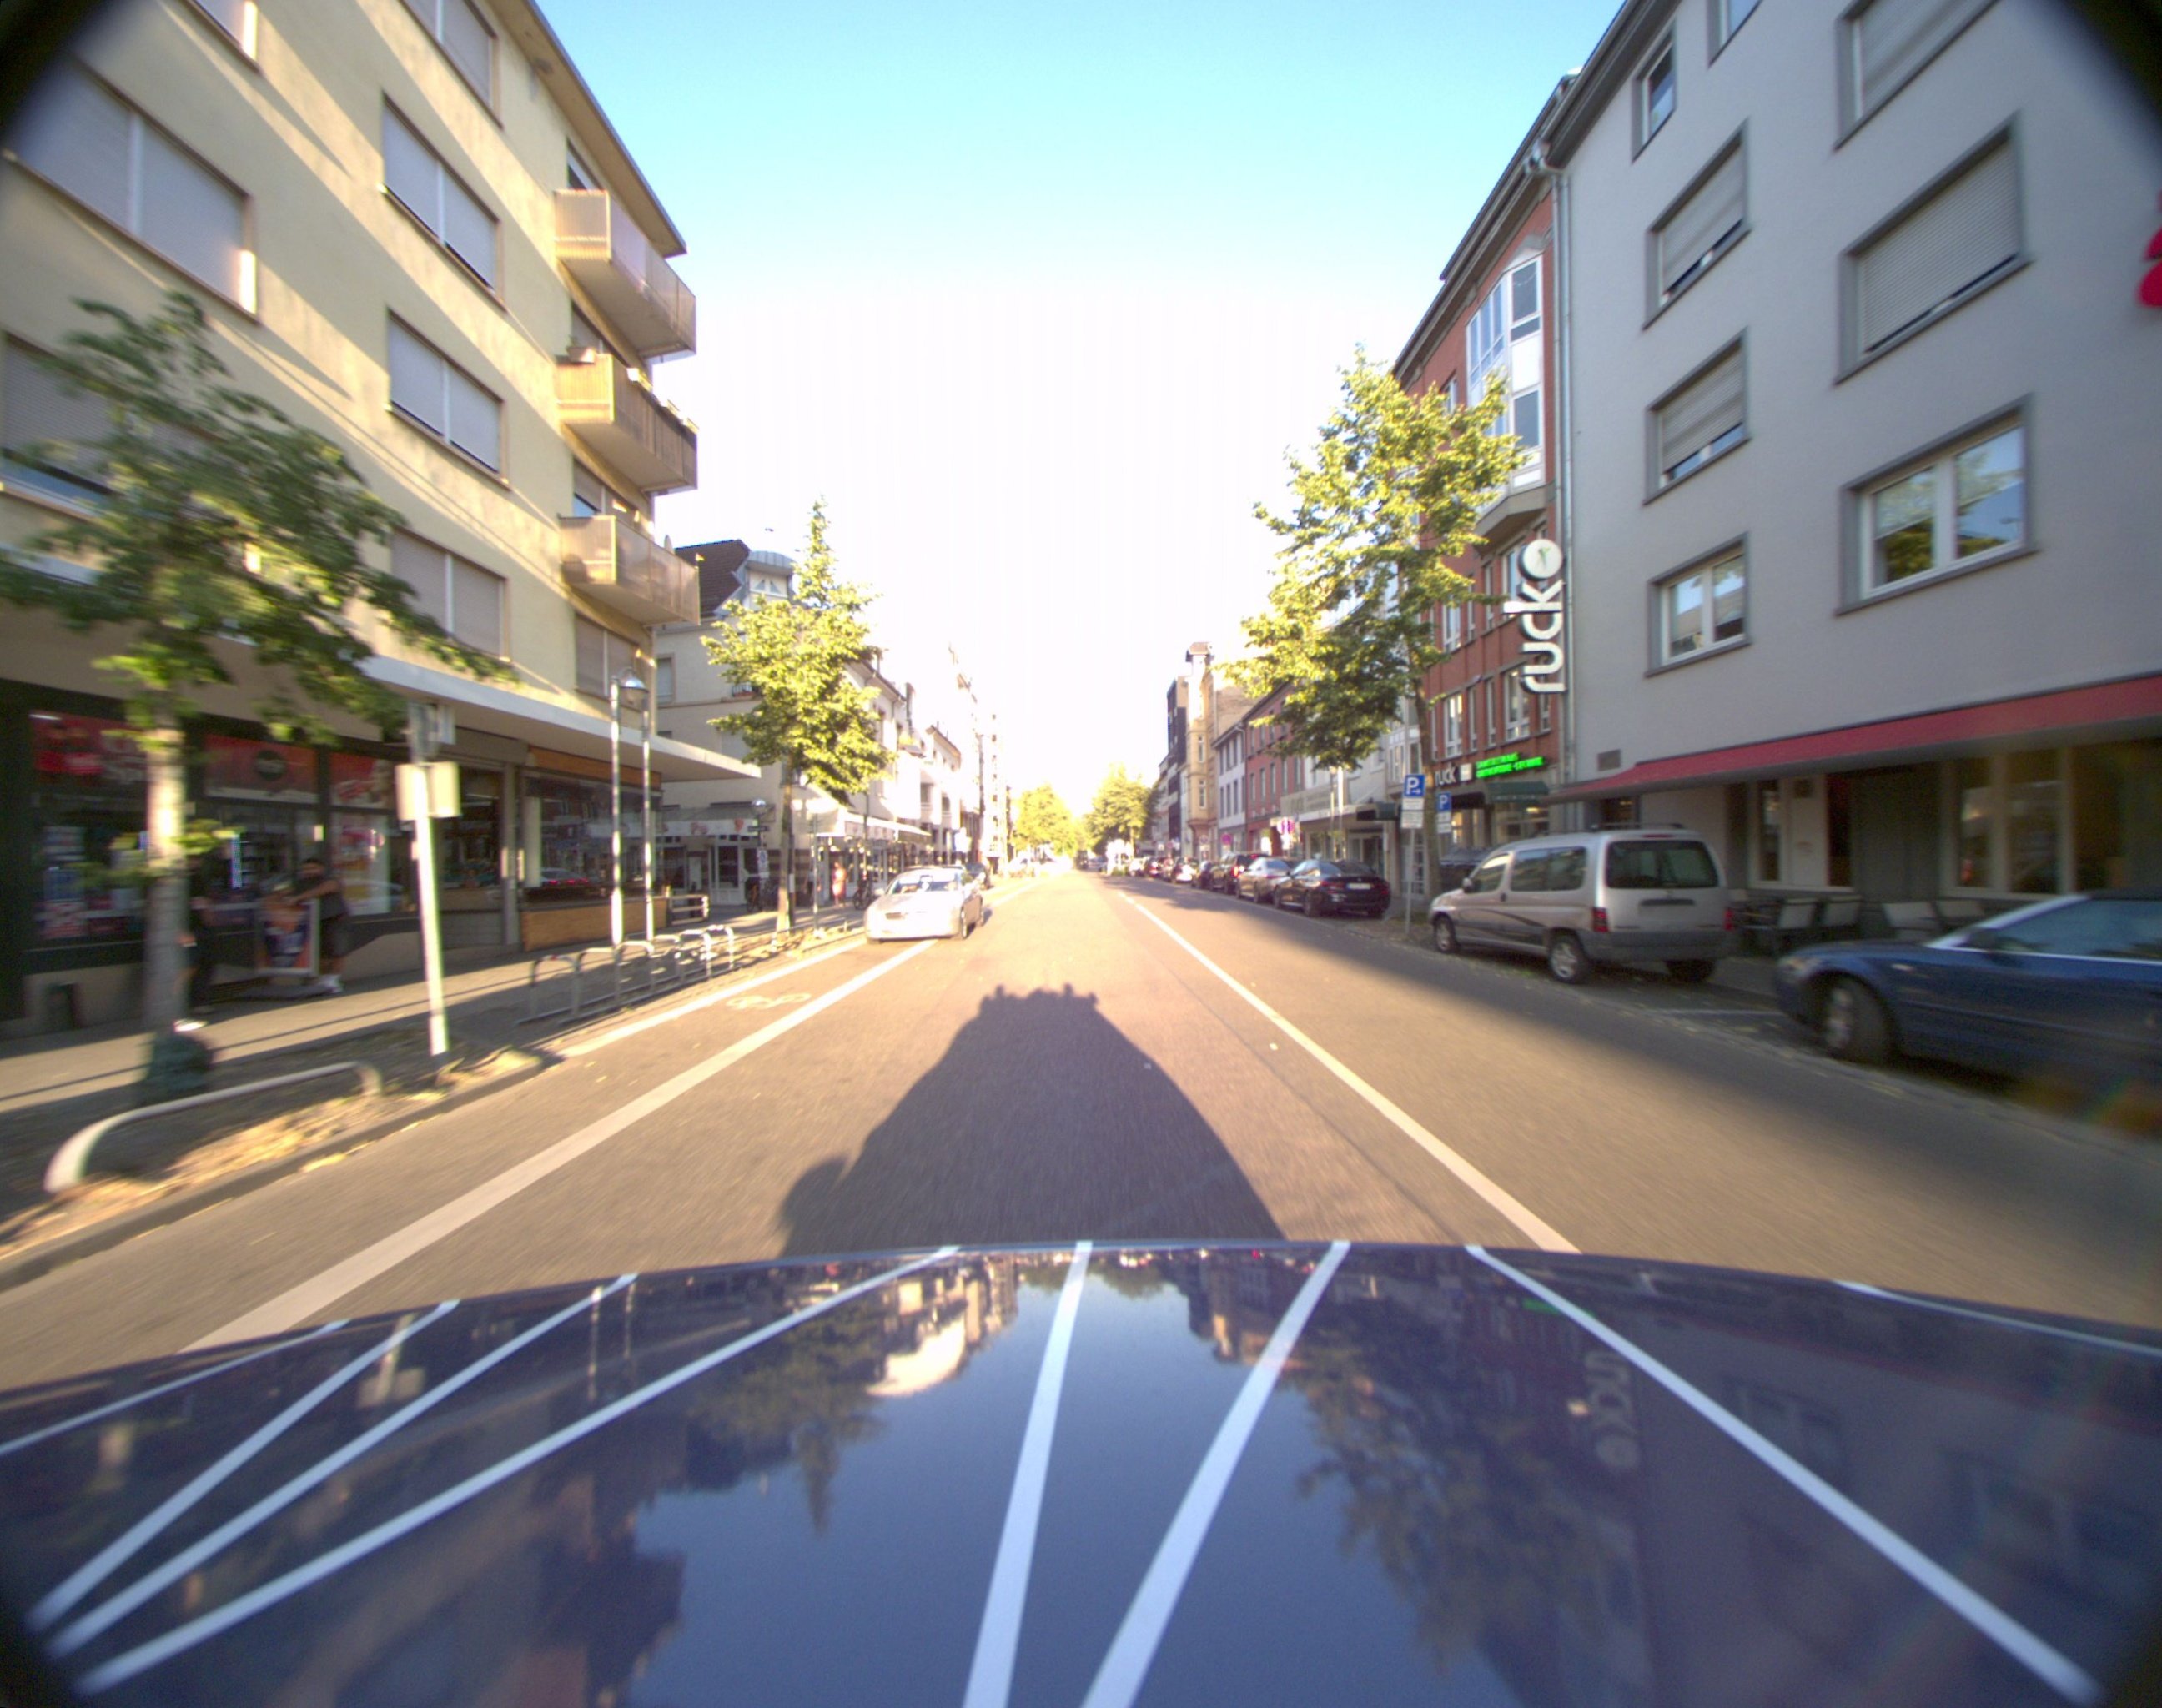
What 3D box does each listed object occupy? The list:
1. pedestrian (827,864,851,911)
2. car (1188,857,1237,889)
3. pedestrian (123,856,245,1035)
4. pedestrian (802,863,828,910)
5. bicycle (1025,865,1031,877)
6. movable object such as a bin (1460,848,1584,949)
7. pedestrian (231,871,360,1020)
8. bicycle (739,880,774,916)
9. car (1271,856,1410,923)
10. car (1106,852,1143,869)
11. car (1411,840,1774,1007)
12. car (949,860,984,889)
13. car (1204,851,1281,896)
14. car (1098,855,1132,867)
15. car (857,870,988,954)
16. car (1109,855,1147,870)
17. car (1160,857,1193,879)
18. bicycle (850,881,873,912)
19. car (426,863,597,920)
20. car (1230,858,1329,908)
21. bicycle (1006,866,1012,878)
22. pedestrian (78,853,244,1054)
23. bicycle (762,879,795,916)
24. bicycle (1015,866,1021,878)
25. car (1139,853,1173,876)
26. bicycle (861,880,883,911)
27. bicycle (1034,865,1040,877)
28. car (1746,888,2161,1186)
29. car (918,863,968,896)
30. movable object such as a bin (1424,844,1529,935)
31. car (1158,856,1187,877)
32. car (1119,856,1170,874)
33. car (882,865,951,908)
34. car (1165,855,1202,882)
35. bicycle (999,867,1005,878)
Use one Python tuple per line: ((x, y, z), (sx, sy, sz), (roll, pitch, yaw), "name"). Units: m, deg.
((-7.894, 1.085, 24.803), (0.541, 1.521, 0.554), (-1, 0, 5), "pedestrian")
((6.617, 0.927, 38.644), (1.770, 1.502, 4.217), (0, 0, 0), "car")
((-9.358, 0.924, 7.951), (0.582, 1.772, 0.527), (-3, 0, -20), "pedestrian")
((-8.808, 1.064, 25.163), (0.541, 1.521, 0.651), (-1, 0, 5), "pedestrian")
((-4.530, 1.458, 64.696), (0.470, 0.952, 1.918), (-1, 0, -5), "bicycle")
((7.991, 0.772, 13.858), (1.284, 1.663, 1.440), (-4, 0, -2), "movable object such as a bin")
((-9.257, 1.043, 8.985), (0.643, 1.650, 0.777), (-3, 0, 0), "pedestrian")
((-10.252, 1.366, 24.054), (0.392, 1.027, 1.844), (-1, 0, -3), "bicycle")
((6.436, 0.812, 19.437), (1.920, 1.502, 4.638), (0, 0, -1), "car")
((5.250, 0.763, 92.444), (4.193, 1.971, 2.055), (0, 0, -5), "car")
((6.383, 0.746, 10.196), (1.920, 1.777, 4.147), (0, 0, -3), "car")
((-6.295, 1.099, 41.945), (1.572, 1.540, 2.803), (0, 0, -1), "car")
((6.767, 0.784, 32.395), (1.999, 1.759, 5.298), (0, 0, -2), "car")
((4.656, 0.942, 104.558), (4.197, 1.618, 2.053), (0, 0, -18), "car")
((-3.152, 1.099, 16.044), (1.805, 1.370, 4.551), (-3, 0, -1), "car")
((5.349, 0.972, 87.315), (4.132, 1.666, 1.996), (0, 0, -4), "car")
((6.405, 0.924, 51.388), (1.770, 1.455, 3.867), (0, 0, 0), "car")
((-7.395, 1.410, 25.641), (0.392, 0.951, 1.639), (-1, 0, -3), "bicycle")
((-17.346, 1.104, 23.218), (4.176, 1.602, 1.858), (0, 0, 11), "car")
((6.479, 0.873, 25.421), (1.998, 1.502, 5.113), (0, 0, 0), "car")
((-6.102, 1.532, 64.197), (0.470, 0.952, 1.918), (-1, 0, -5), "bicycle")
((-8.756, 0.910, 7.259), (0.709, 1.796, 0.650), (-3, 0, 0), "pedestrian")
((-9.574, 1.353, 24.070), (0.392, 1.044, 1.844), (-1, 0, -3), "bicycle")
((-5.328, 1.496, 64.523), (0.470, 0.952, 1.918), (-1, 0, -5), "bicycle")
((5.873, 0.781, 59.856), (2.055, 1.742, 4.216), (0, 0, -4), "car")
((-7.045, 1.391, 25.673), (0.392, 0.950, 1.615), (-1, 0, -3), "bicycle")
((-3.782, 1.422, 64.821), (0.470, 0.952, 1.918), (-1, 0, -5), "bicycle")
((6.331, 0.959, 3.930), (1.920, 1.378, 4.381), (0, 0, -1), "car")
((-6.445, 1.164, 35.746), (1.727, 1.413, 3.748), (0, 0, -1), "car")
((7.925, 0.684, 15.319), (1.283, 1.663, 1.369), (-4, 0, -2), "movable object such as a bin")
((6.625, 0.902, 55.372), (1.689, 1.455, 3.542), (0, 0, 0), "car")
((5.547, 0.960, 66.546), (4.193, 1.572, 2.055), (0, 0, -5), "car")
((-6.017, 1.156, 28.219), (1.727, 1.413, 4.032), (0, 0, -1), "car")
((6.286, 0.888, 47.148), (1.770, 1.604, 4.217), (0, 0, 0), "car")
((-6.699, 1.564, 64.284), (0.470, 0.952, 1.917), (-1, 0, -7), "bicycle")
